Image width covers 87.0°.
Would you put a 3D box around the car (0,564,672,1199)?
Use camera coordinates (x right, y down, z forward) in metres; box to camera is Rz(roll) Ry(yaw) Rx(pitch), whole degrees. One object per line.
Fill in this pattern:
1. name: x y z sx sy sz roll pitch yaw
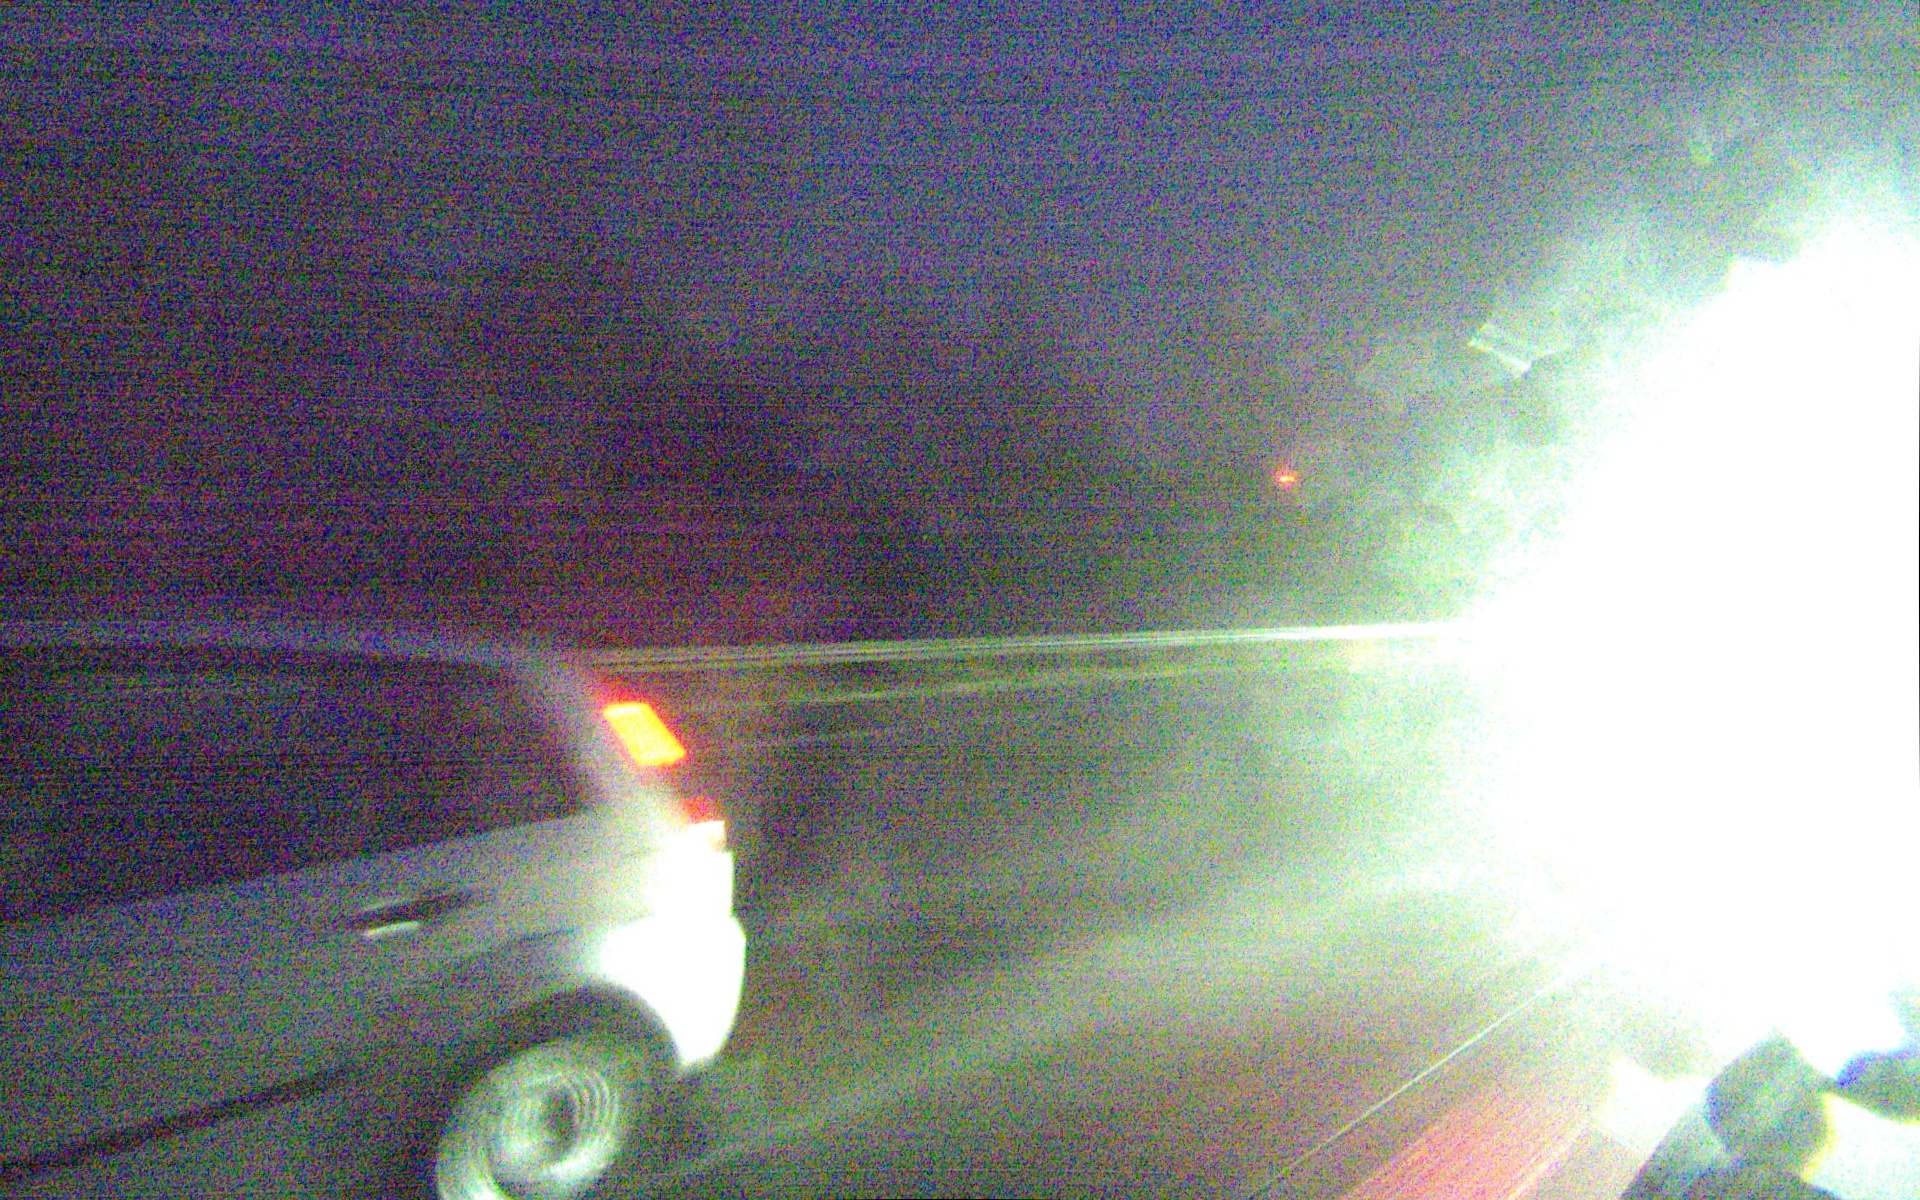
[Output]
1. car: -2.807 0.673 1.703 4.121 1.476 1.773 0 0 -40
